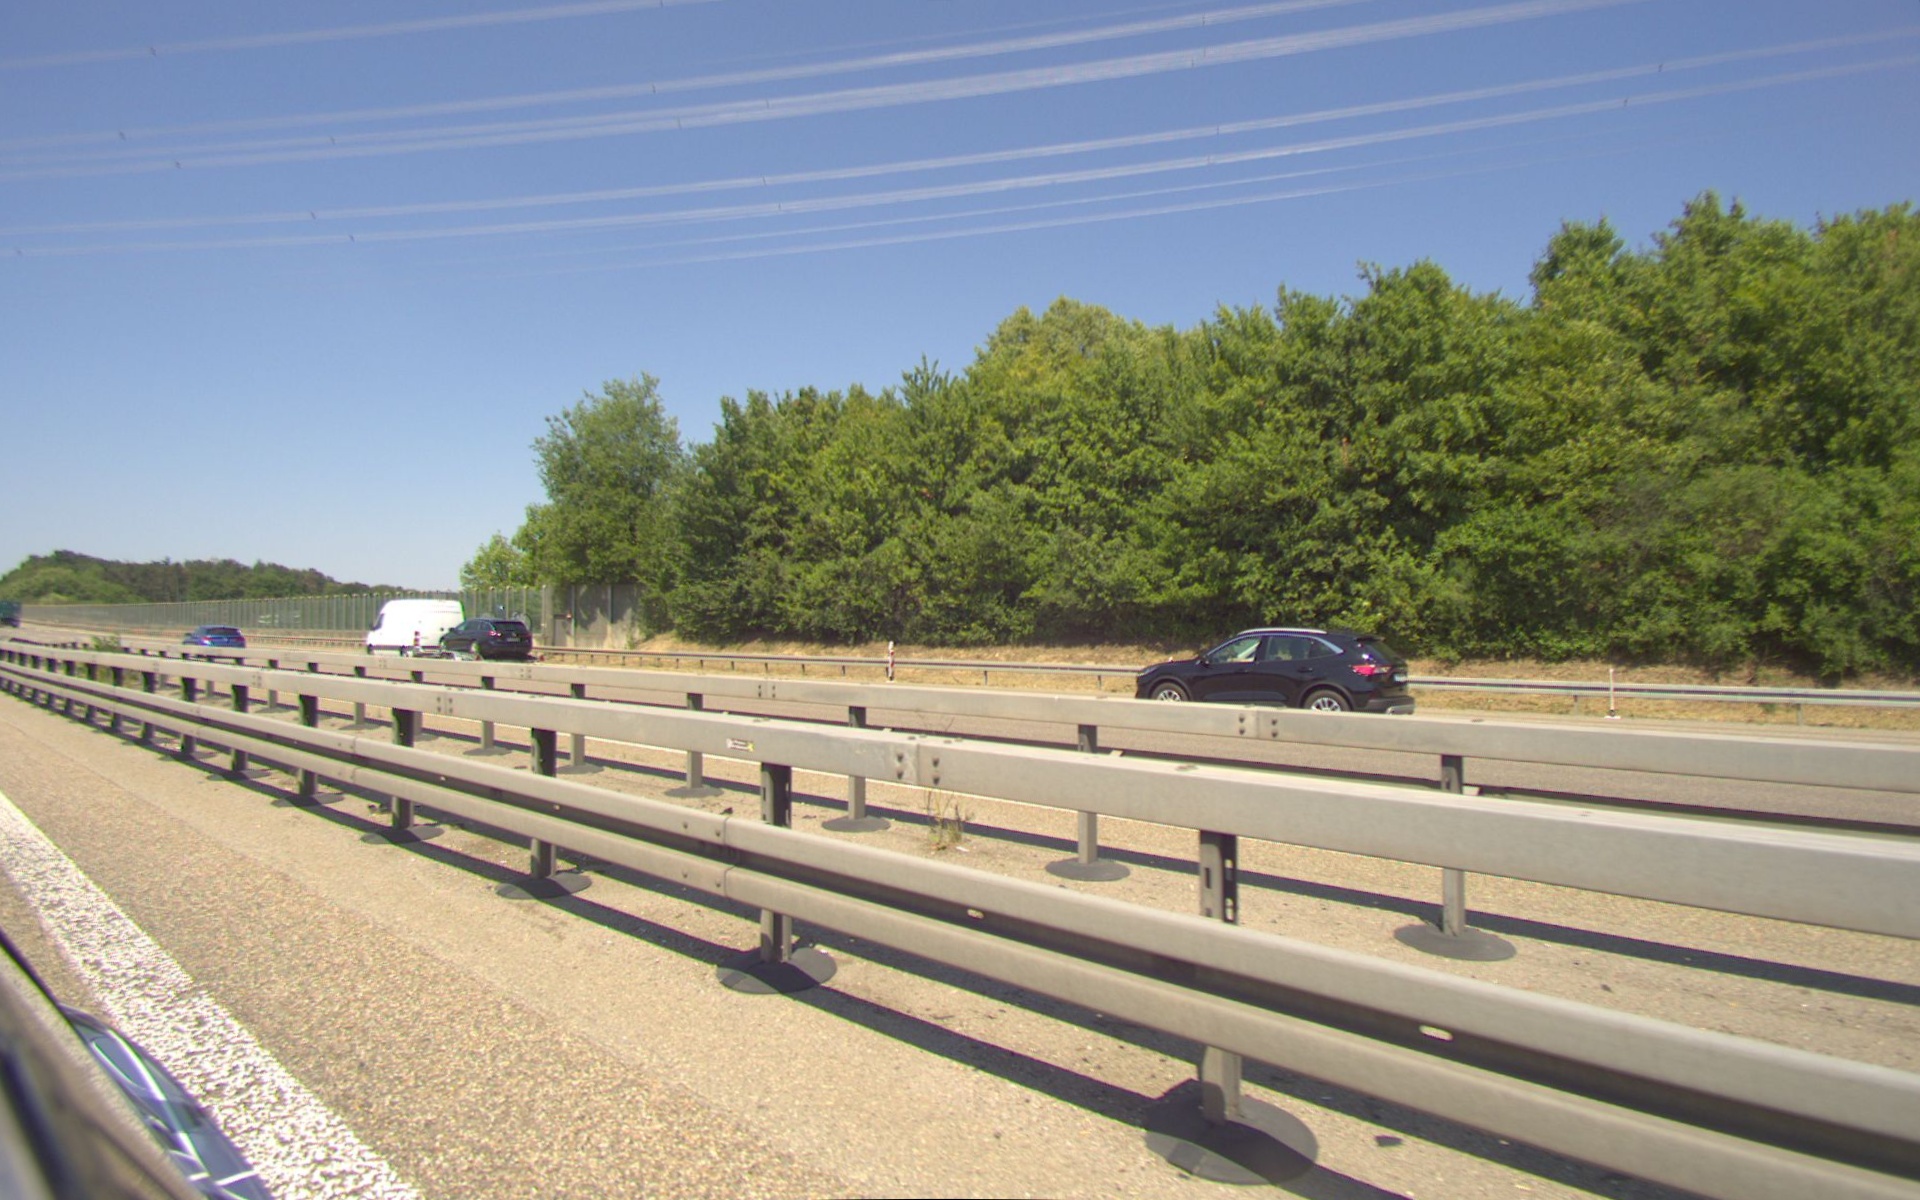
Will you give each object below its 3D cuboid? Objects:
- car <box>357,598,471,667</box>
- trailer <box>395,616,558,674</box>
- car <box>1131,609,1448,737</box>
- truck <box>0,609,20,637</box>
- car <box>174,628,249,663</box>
[{"bbox_3d":[-22.424,1.347,41.433,6.001,2.660,2.087,-1,-3,41],"label":"car"},{"bbox_3d":[-17.770,1.625,37.022,6.716,1.961,2.737,-1,-3,39],"label":"trailer"},{"bbox_3d":[5.321,1.119,16.617,4.508,1.813,2.136,-1,-3,39],"label":"car"},{"bbox_3d":[-147.317,3.530,155.381,11.086,4.169,3.271,-2,-4,42],"label":"truck"},{"bbox_3d":[-33.302,2.006,44.987,4.353,1.485,1.763,-2,-5,42],"label":"car"}]
